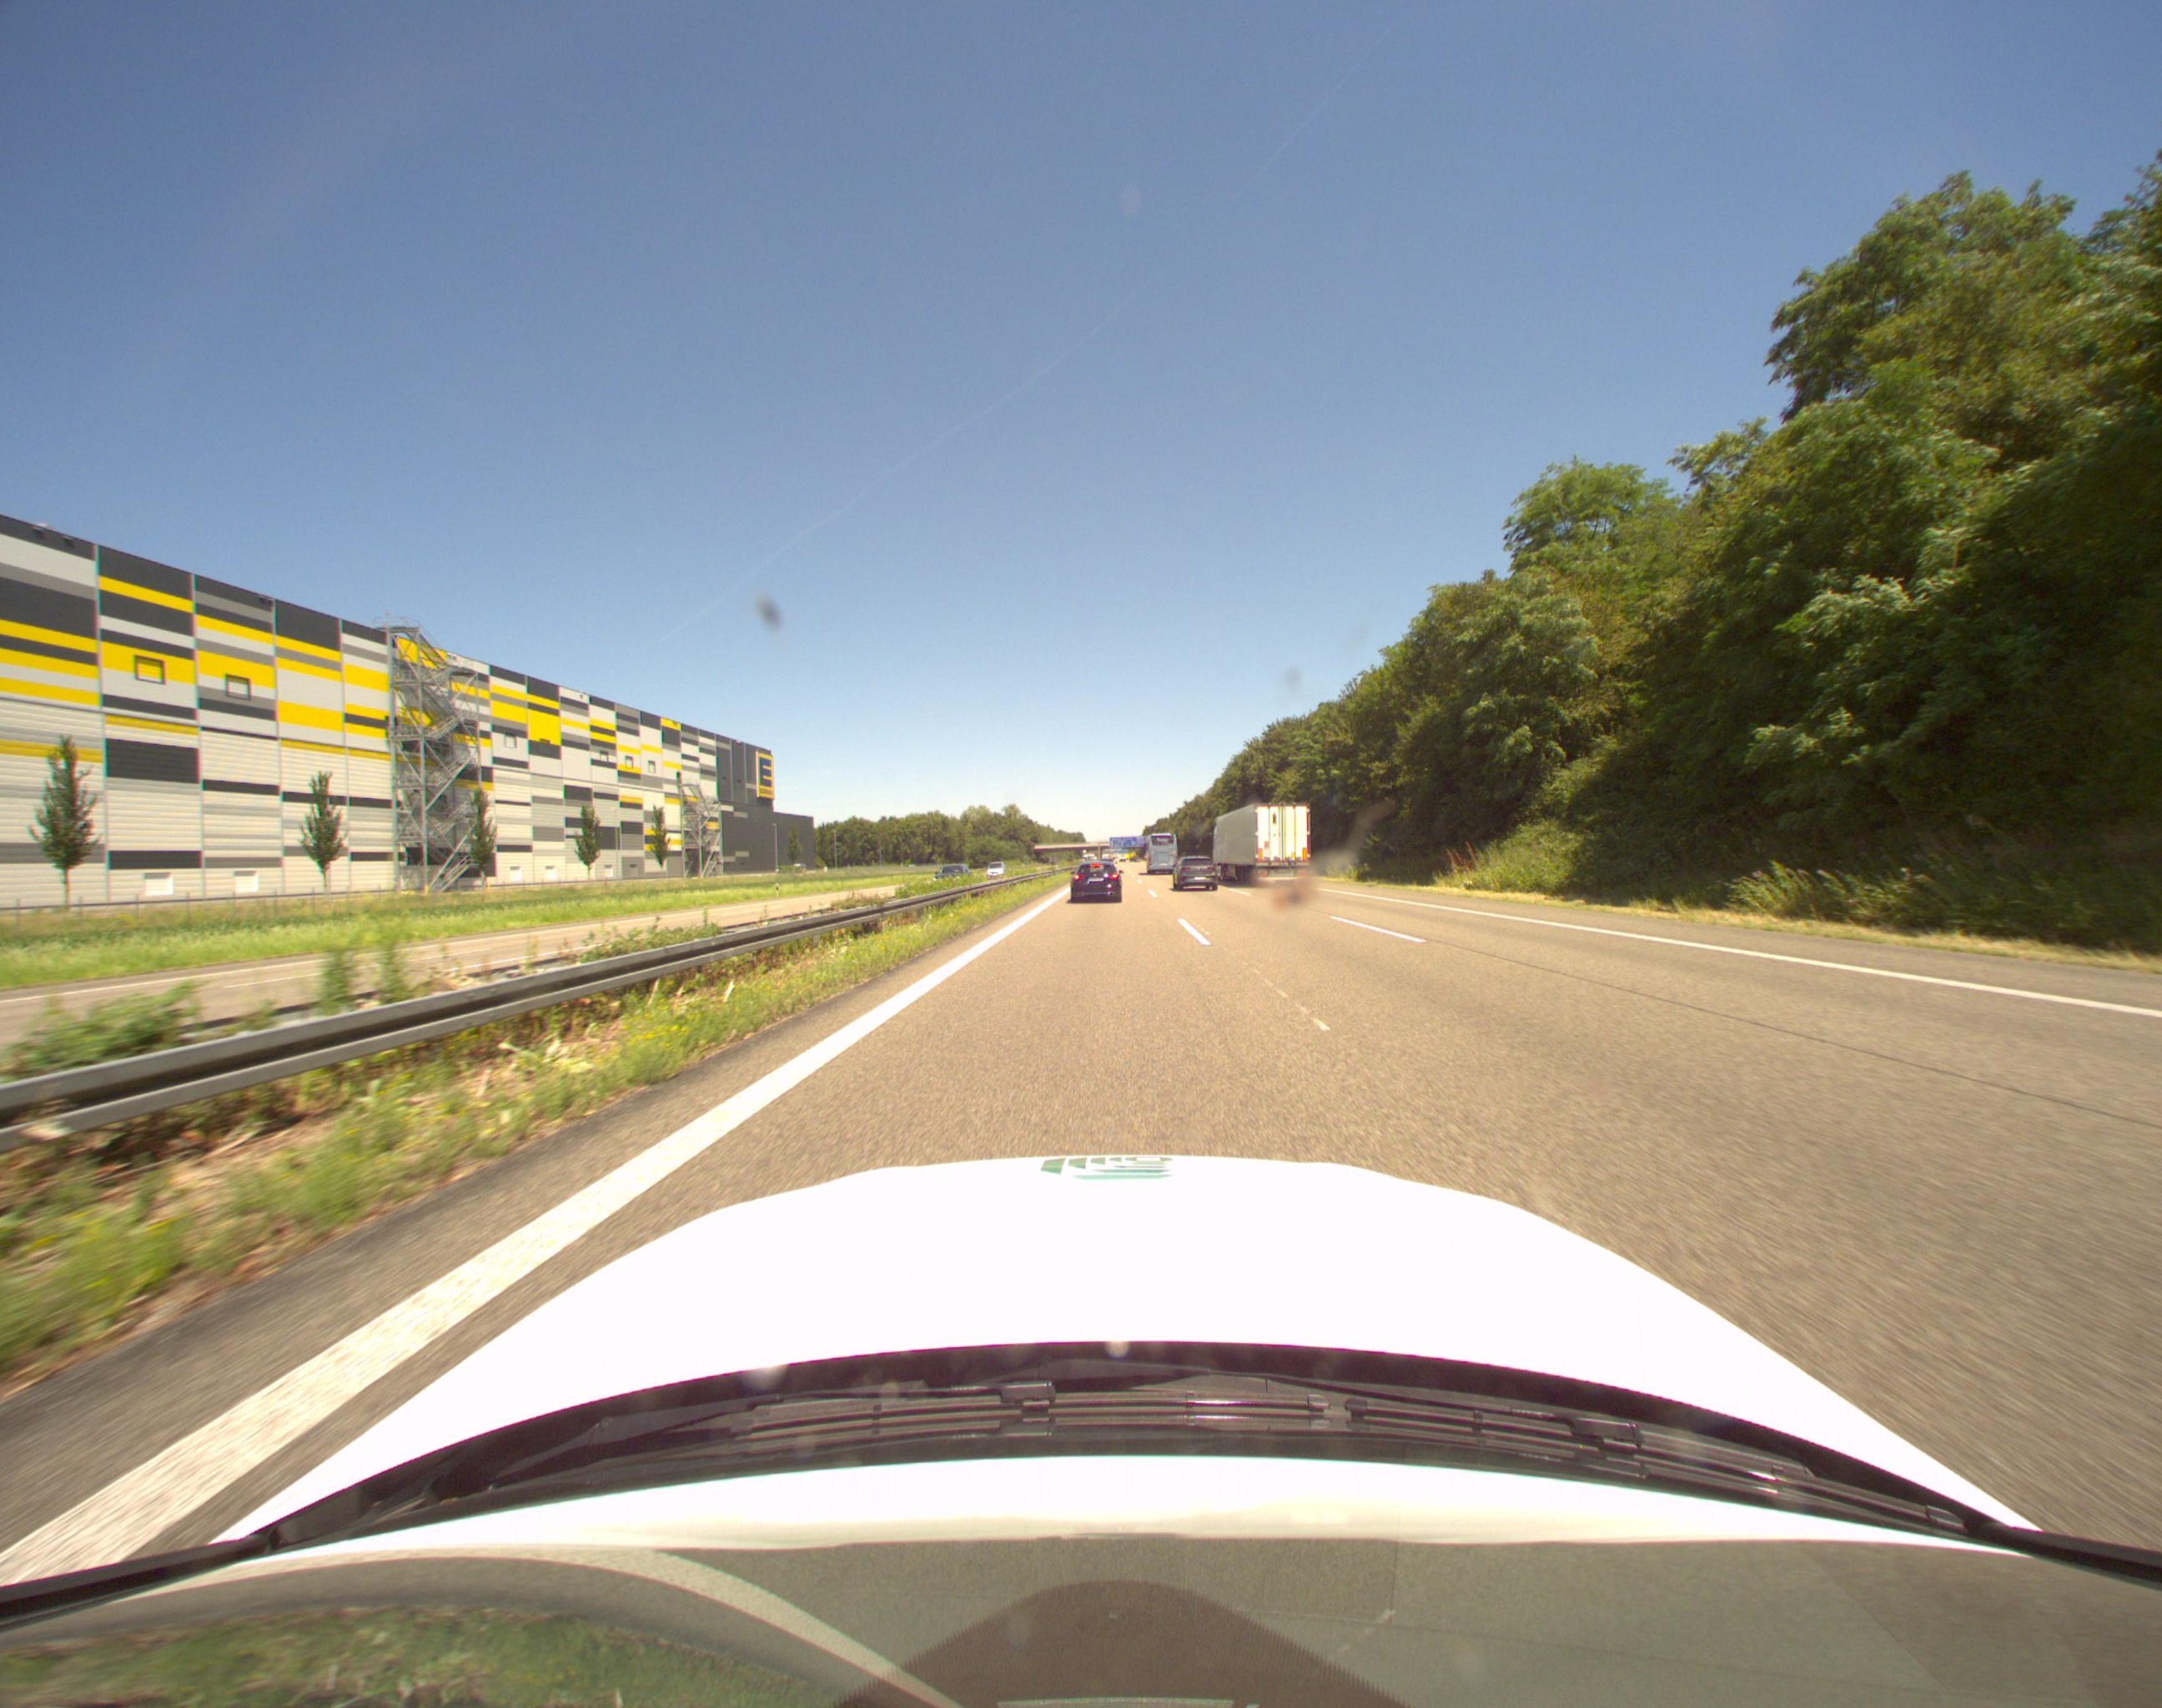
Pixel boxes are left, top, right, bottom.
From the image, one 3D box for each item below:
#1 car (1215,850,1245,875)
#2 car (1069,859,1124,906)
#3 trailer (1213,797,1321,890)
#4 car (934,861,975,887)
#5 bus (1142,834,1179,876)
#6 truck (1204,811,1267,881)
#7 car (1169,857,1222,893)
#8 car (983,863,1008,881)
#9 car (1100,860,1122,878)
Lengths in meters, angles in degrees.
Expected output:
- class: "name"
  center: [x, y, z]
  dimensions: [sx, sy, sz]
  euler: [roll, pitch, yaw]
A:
- class: "car"
  center: [13.082, 0.706, 71.776]
  dimensions: [1.892, 2.120, 4.242]
  euler: [-1, 0, 1]
- class: "car"
  center: [0.574, 0.970, 29.210]
  dimensions: [1.793, 1.502, 4.242]
  euler: [-1, 0, 1]
- class: "trailer"
  center: [9.701, -0.470, 44.517]
  dimensions: [3.029, 4.224, 13.839]
  euler: [-1, 0, 1]
- class: "car"
  center: [-8.045, 1.248, 52.123]
  dimensions: [1.793, 1.532, 4.242]
  euler: [-1, 0, 1]
- class: "bus"
  center: [7.263, 0.118, 75.921]
  dimensions: [2.791, 3.596, 12.481]
  euler: [-1, 0, 2]
- class: "truck"
  center: [9.915, -0.474, 53.019]
  dimensions: [3.036, 4.215, 6.050]
  euler: [-1, 0, 1]
- class: "car"
  center: [5.261, 0.939, 37.871]
  dimensions: [1.892, 1.532, 4.761]
  euler: [-1, 0, 1]
- class: "car"
  center: [-8.044, 1.685, 77.119]
  dimensions: [1.650, 1.582, 4.337]
  euler: [-3, 0, 2]
- class: "car"
  center: [2.668, 1.300, 72.461]
  dimensions: [1.892, 1.532, 4.242]
  euler: [-1, 0, 1]
